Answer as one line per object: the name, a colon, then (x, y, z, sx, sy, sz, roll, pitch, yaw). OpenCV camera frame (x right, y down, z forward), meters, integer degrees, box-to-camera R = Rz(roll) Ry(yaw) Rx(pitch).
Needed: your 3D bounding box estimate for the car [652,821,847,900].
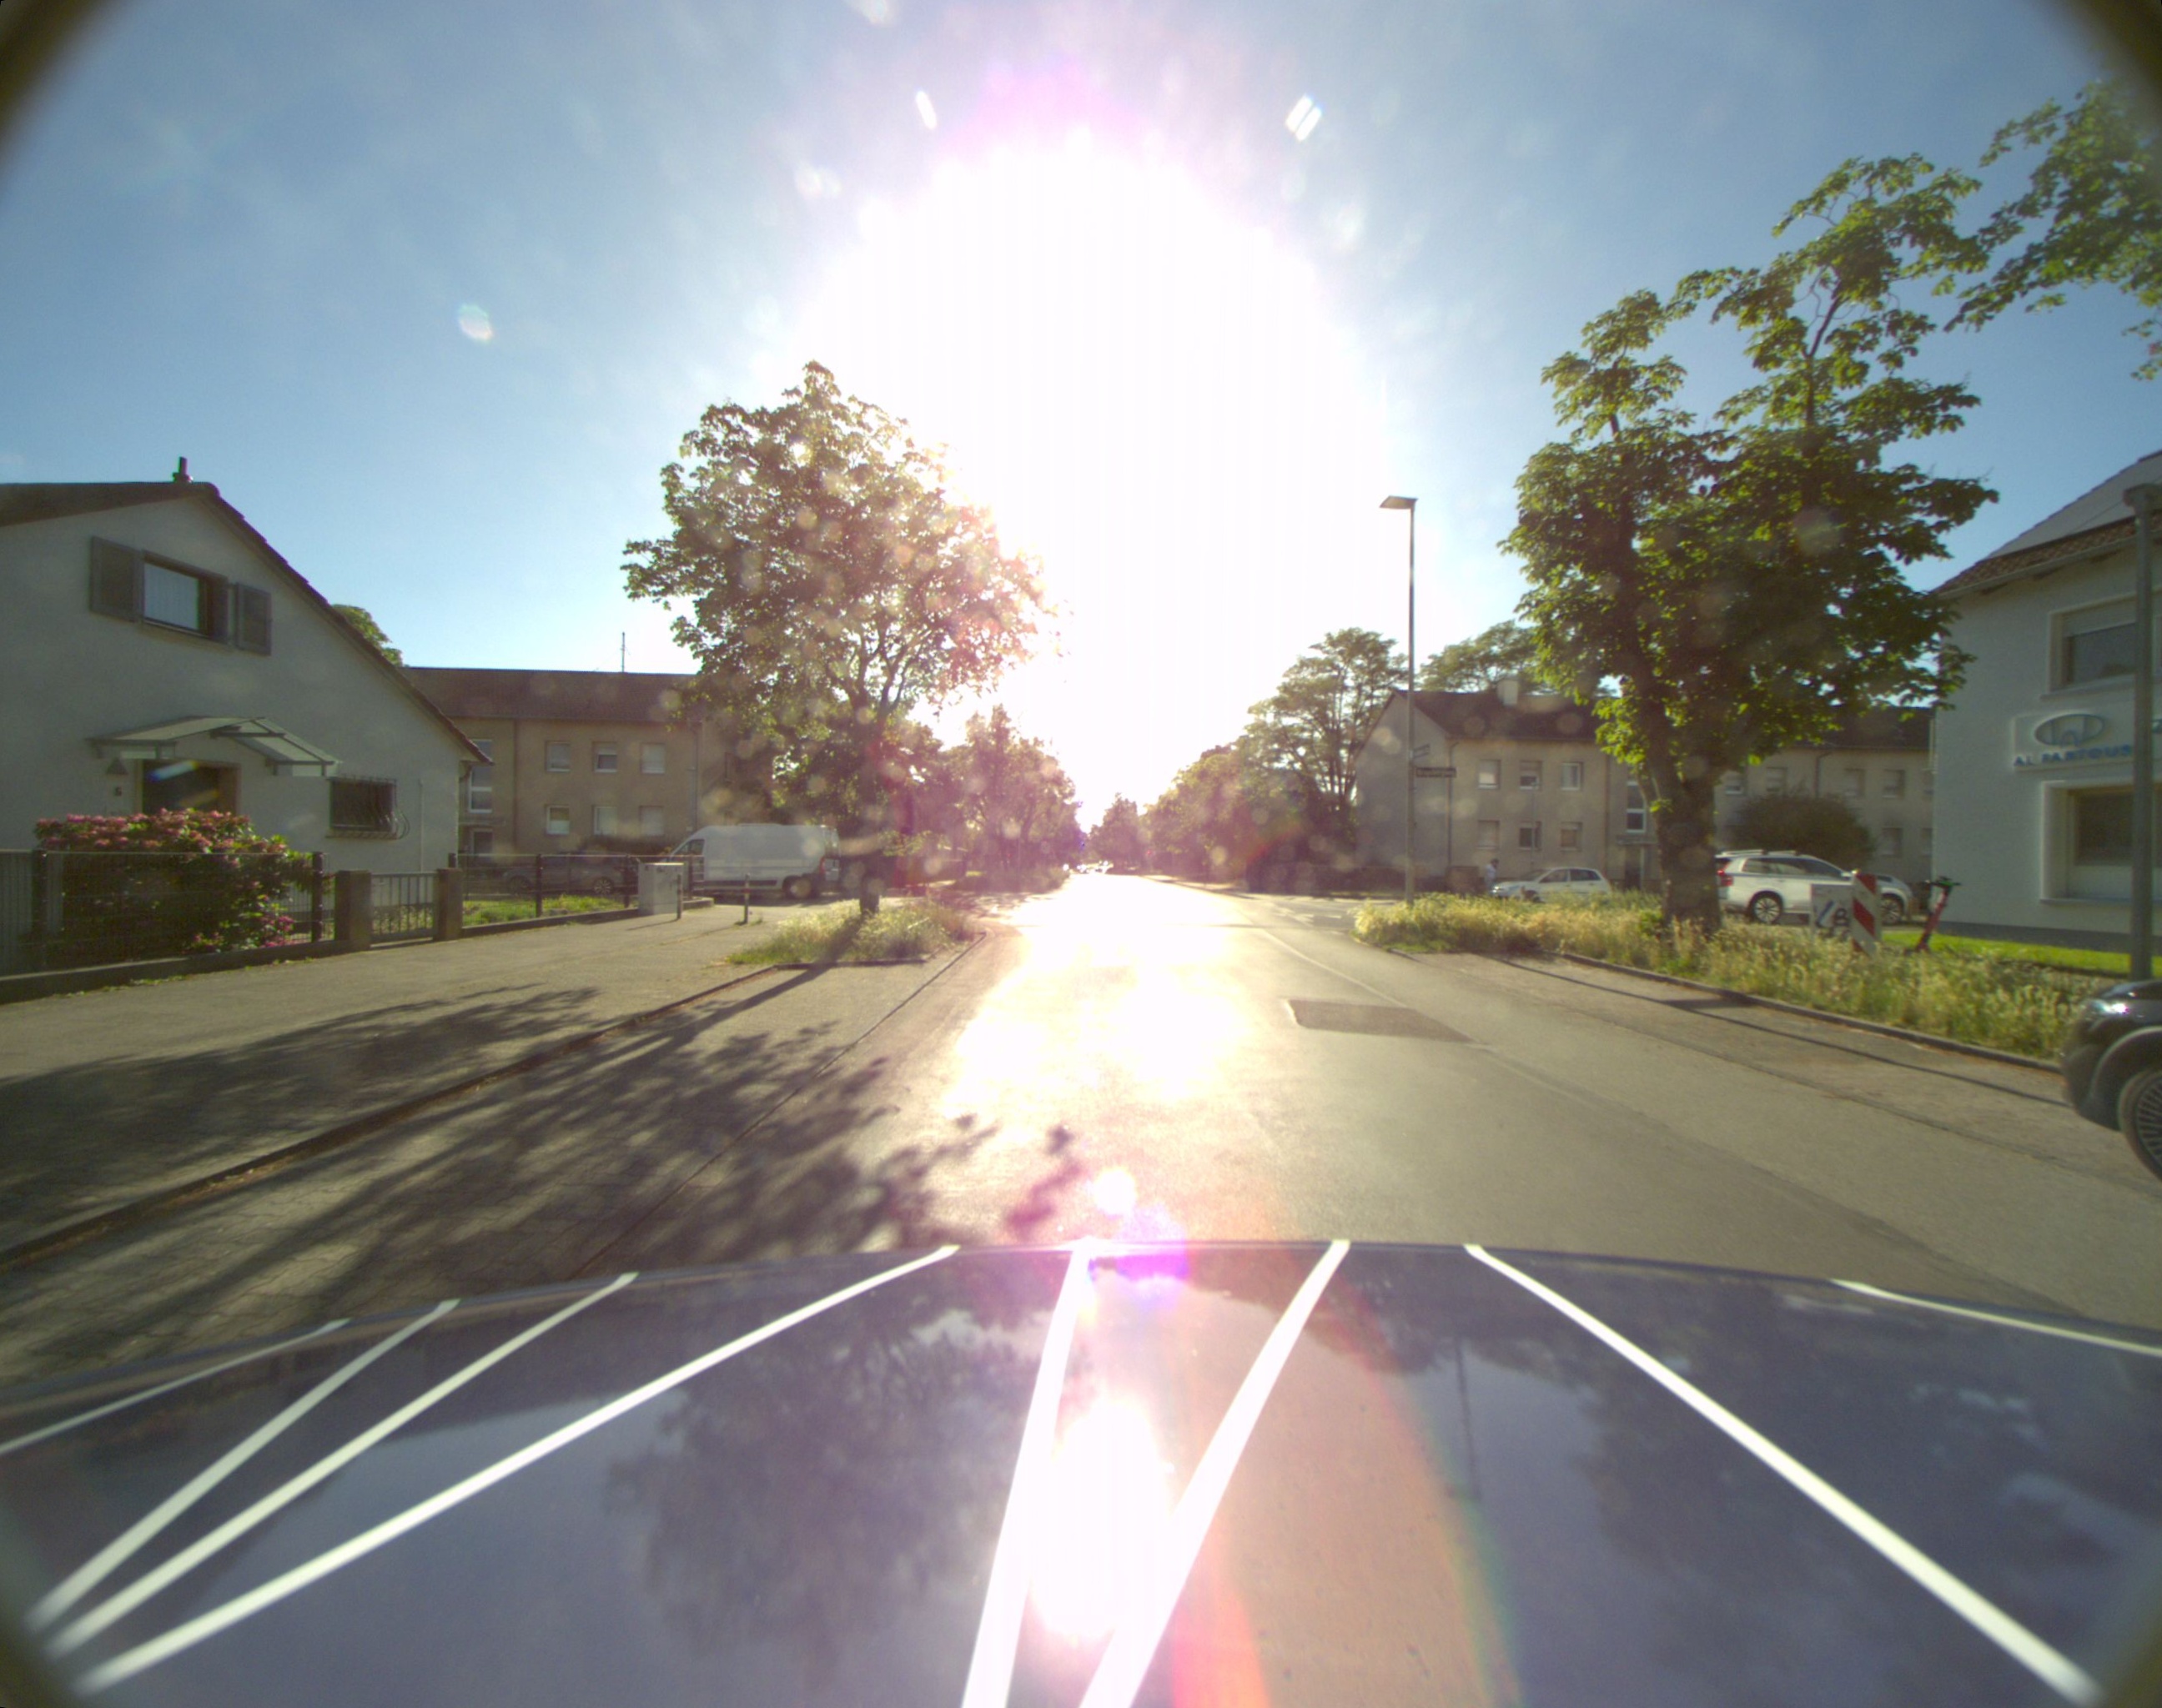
car: (-11.132, 0.219, 25.871, 5.610, 2.524, 2.265, 0, 0, -3)

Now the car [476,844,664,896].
car: (-17.150, 0.539, 25.727, 4.754, 1.572, 2.285, -1, -1, -3)

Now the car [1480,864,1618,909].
car: (16.543, 1.145, 26.971, 3.776, 1.470, 1.871, 1, -1, -2)

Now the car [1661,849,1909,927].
car: (17.641, 0.875, 19.203, 4.501, 1.826, 2.000, 1, -3, -3)

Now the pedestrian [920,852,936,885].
pedestrian: (-7.860, 0.749, 39.095, 0.638, 1.695, 0.612, 3, -1, -1)

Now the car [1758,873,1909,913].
car: (27.348, 1.404, 27.701, 3.777, 1.388, 1.870, 1, -1, -4)

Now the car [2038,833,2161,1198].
car: (6.015, 0.768, 1.584, 1.958, 1.717, 4.875, -1, 1, 1)

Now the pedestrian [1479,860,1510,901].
pedestrian: (15.939, 1.012, 29.299, 0.785, 1.544, 0.639, -1, -1, -3)

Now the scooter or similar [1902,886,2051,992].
scooter or similar: (9.363, 0.859, 7.986, 0.336, 0.995, 0.997, 1, 0, -3)
